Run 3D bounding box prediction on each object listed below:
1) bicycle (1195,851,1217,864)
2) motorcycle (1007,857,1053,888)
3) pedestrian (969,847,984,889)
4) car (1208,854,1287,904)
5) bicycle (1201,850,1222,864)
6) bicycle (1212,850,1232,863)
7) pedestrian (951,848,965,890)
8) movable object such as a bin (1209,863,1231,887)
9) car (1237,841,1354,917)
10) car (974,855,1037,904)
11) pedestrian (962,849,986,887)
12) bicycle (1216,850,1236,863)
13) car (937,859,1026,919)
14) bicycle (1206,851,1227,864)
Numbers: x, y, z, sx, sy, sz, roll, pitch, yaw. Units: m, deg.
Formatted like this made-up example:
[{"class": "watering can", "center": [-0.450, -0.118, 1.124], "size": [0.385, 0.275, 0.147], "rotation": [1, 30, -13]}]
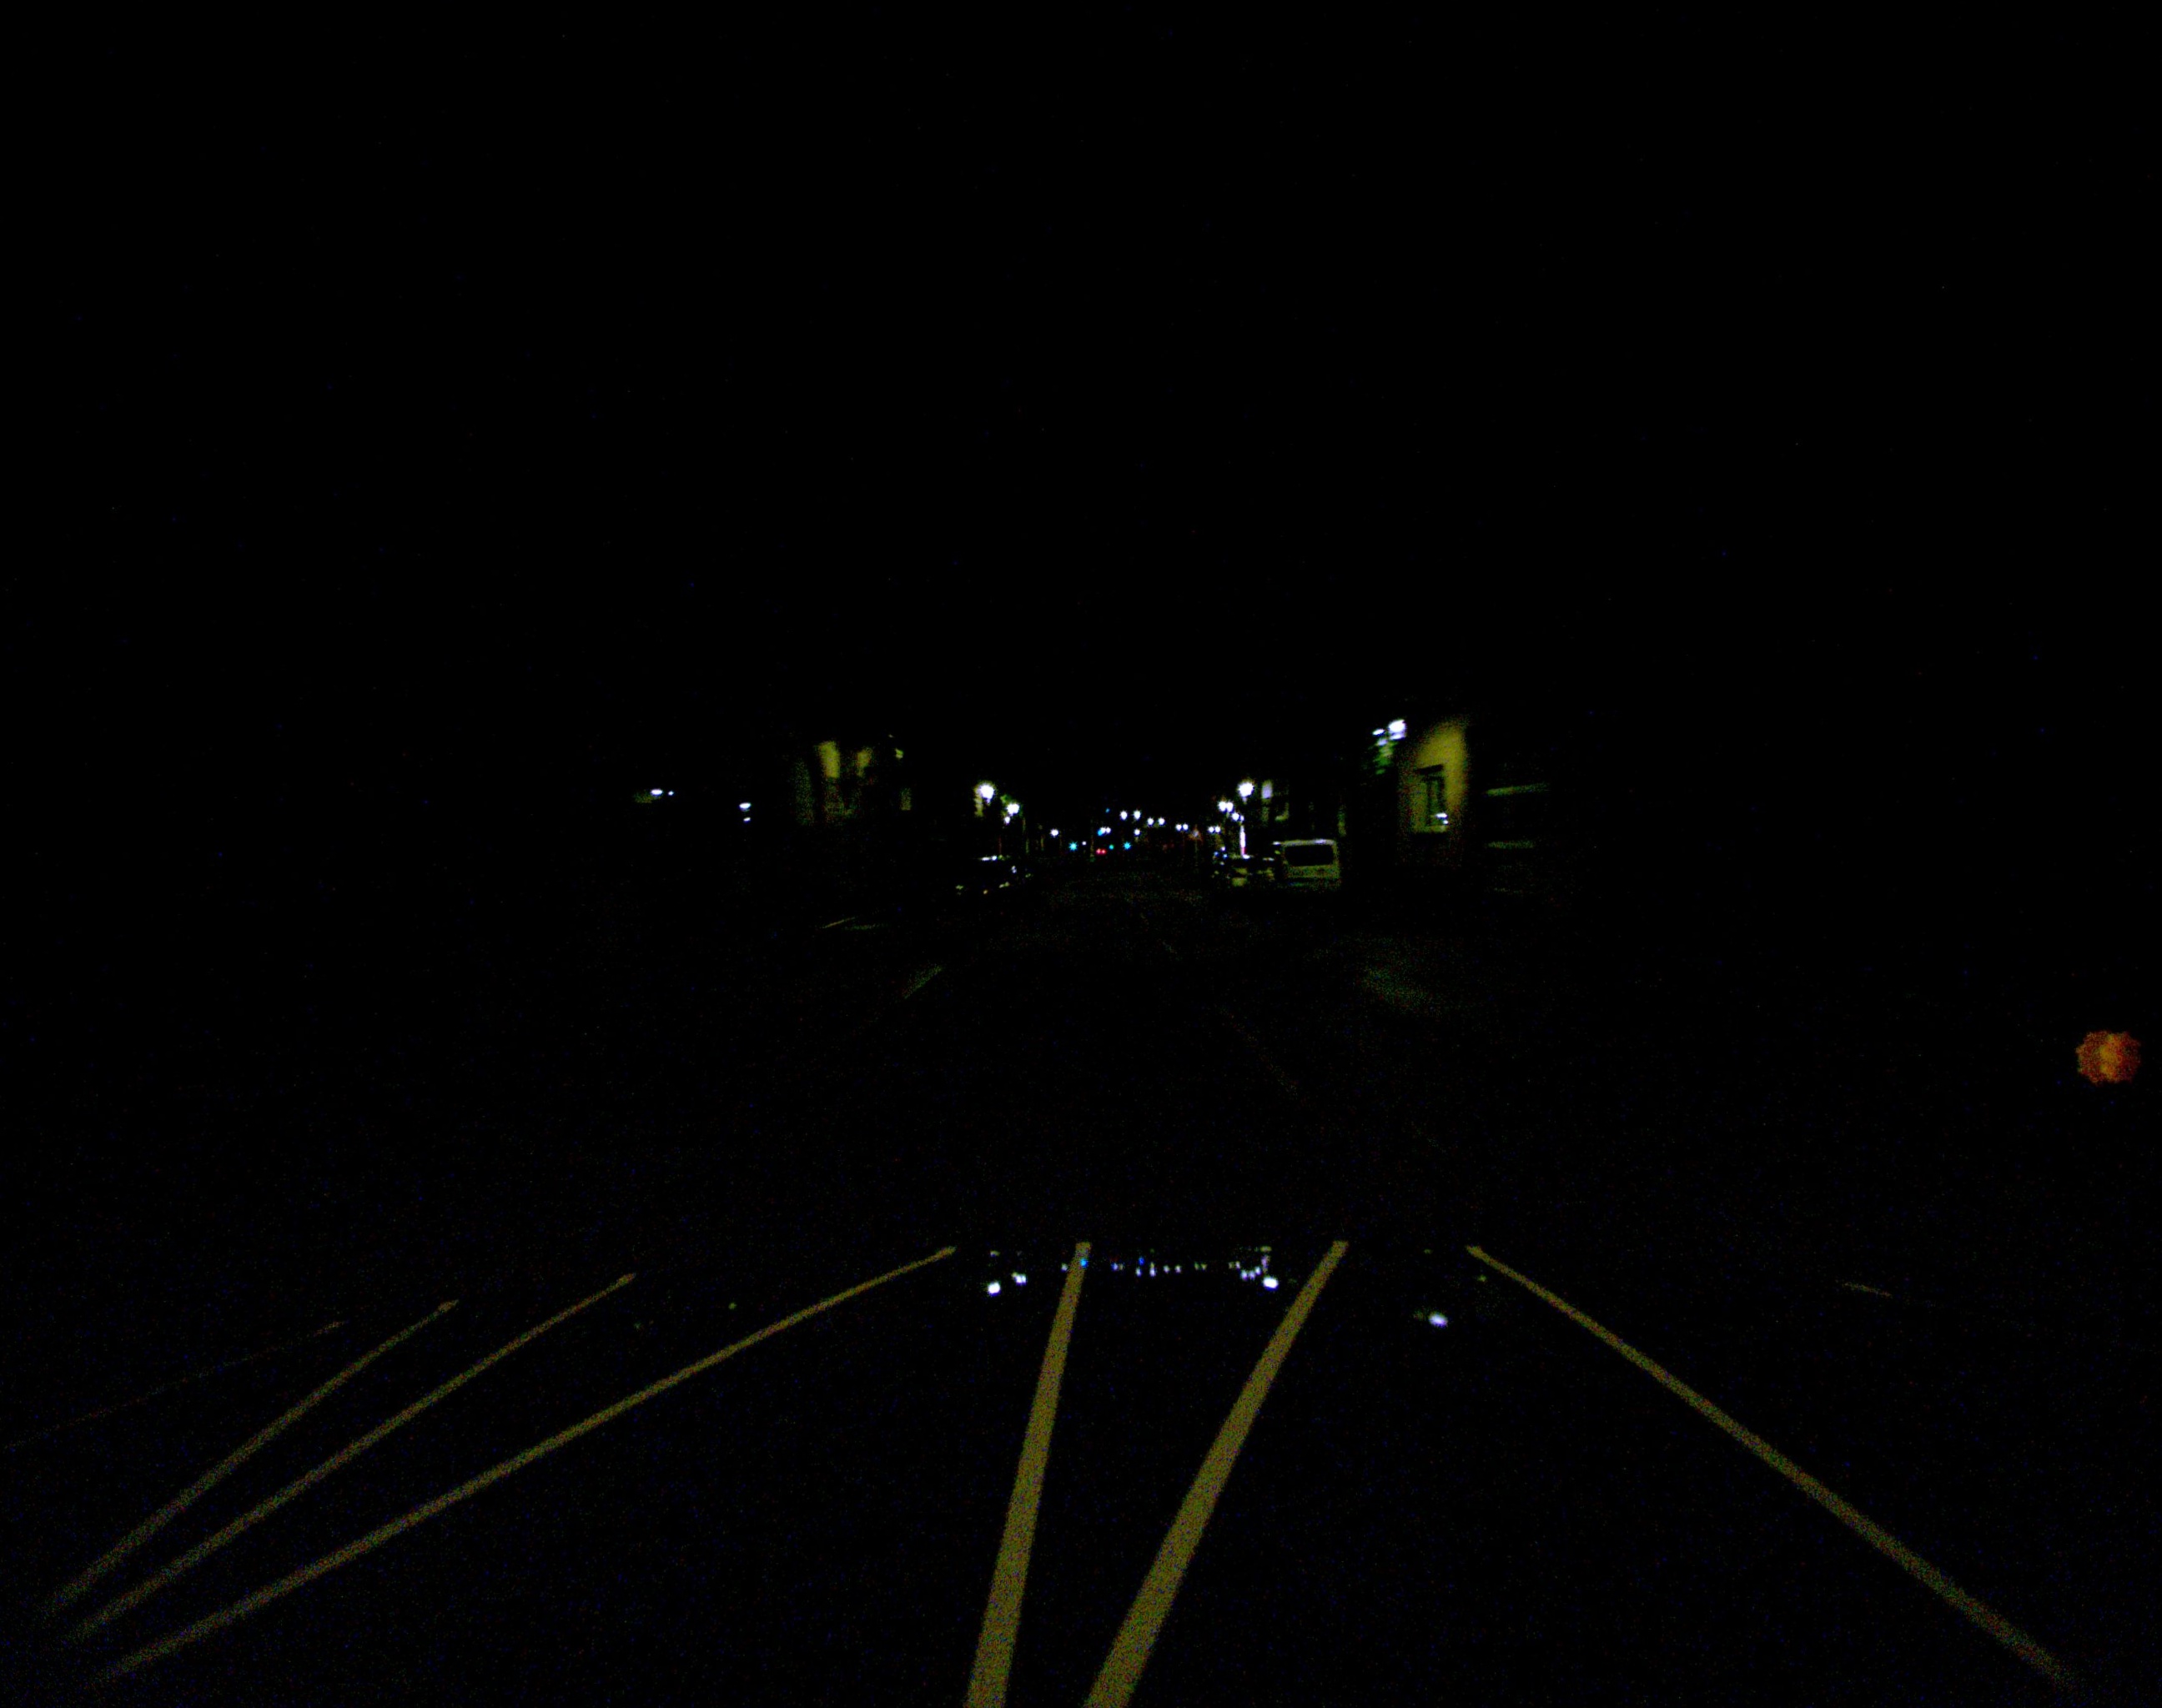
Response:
[{"class": "bicycle", "center": [10.849, 0.284, 66.102], "size": [1.783, 1.144, 0.761], "rotation": [0, 2, 43]}, {"class": "motorcycle", "center": [-2.312, 0.832, 34.564], "size": [1.948, 1.345, 0.761], "rotation": [-1, 1, -34]}, {"class": "pedestrian", "center": [-4.322, 0.575, 31.422], "size": [0.508, 1.699, 0.705], "rotation": [-1, 1, 2]}, {"class": "car", "center": [5.745, 0.803, 26.814], "size": [1.843, 1.441, 4.881], "rotation": [-2, 1, 2]}, {"class": "bicycle", "center": [11.460, 0.275, 66.640], "size": [1.772, 1.144, 0.615], "rotation": [0, 2, 43]}, {"class": "bicycle", "center": [12.519, 0.251, 67.652], "size": [0.583, 1.144, 1.772], "rotation": [-2, 2, -41]}, {"class": "pedestrian", "center": [-5.080, 0.599, 31.379], "size": [0.478, 1.699, 0.571], "rotation": [-1, 1, 2]}, {"class": "movable object such as a bin", "center": [6.277, 0.935, 34.328], "size": [0.691, 1.044, 0.624], "rotation": [-4, 3, -39]}, {"class": "car", "center": [5.805, 0.594, 21.245], "size": [1.888, 1.833, 4.814], "rotation": [-1, 1, 0]}, {"class": "car", "center": [-2.524, 0.801, 26.430], "size": [1.737, 1.492, 4.466], "rotation": [1, 1, 0]}, {"class": "pedestrian", "center": [-4.749, 0.609, 33.762], "size": [0.809, 1.622, 0.966], "rotation": [-2, 1, 2]}, {"class": "bicycle", "center": [13.022, 0.210, 68.080], "size": [0.583, 1.144, 1.772], "rotation": [-2, 2, -41]}, {"class": "car", "center": [-2.648, 0.894, 21.156], "size": [1.740, 1.446, 4.000], "rotation": [-1, 1, 3]}, {"class": "bicycle", "center": [11.950, 0.274, 67.117], "size": [1.772, 1.144, 0.583], "rotation": [0, 2, 43]}]
